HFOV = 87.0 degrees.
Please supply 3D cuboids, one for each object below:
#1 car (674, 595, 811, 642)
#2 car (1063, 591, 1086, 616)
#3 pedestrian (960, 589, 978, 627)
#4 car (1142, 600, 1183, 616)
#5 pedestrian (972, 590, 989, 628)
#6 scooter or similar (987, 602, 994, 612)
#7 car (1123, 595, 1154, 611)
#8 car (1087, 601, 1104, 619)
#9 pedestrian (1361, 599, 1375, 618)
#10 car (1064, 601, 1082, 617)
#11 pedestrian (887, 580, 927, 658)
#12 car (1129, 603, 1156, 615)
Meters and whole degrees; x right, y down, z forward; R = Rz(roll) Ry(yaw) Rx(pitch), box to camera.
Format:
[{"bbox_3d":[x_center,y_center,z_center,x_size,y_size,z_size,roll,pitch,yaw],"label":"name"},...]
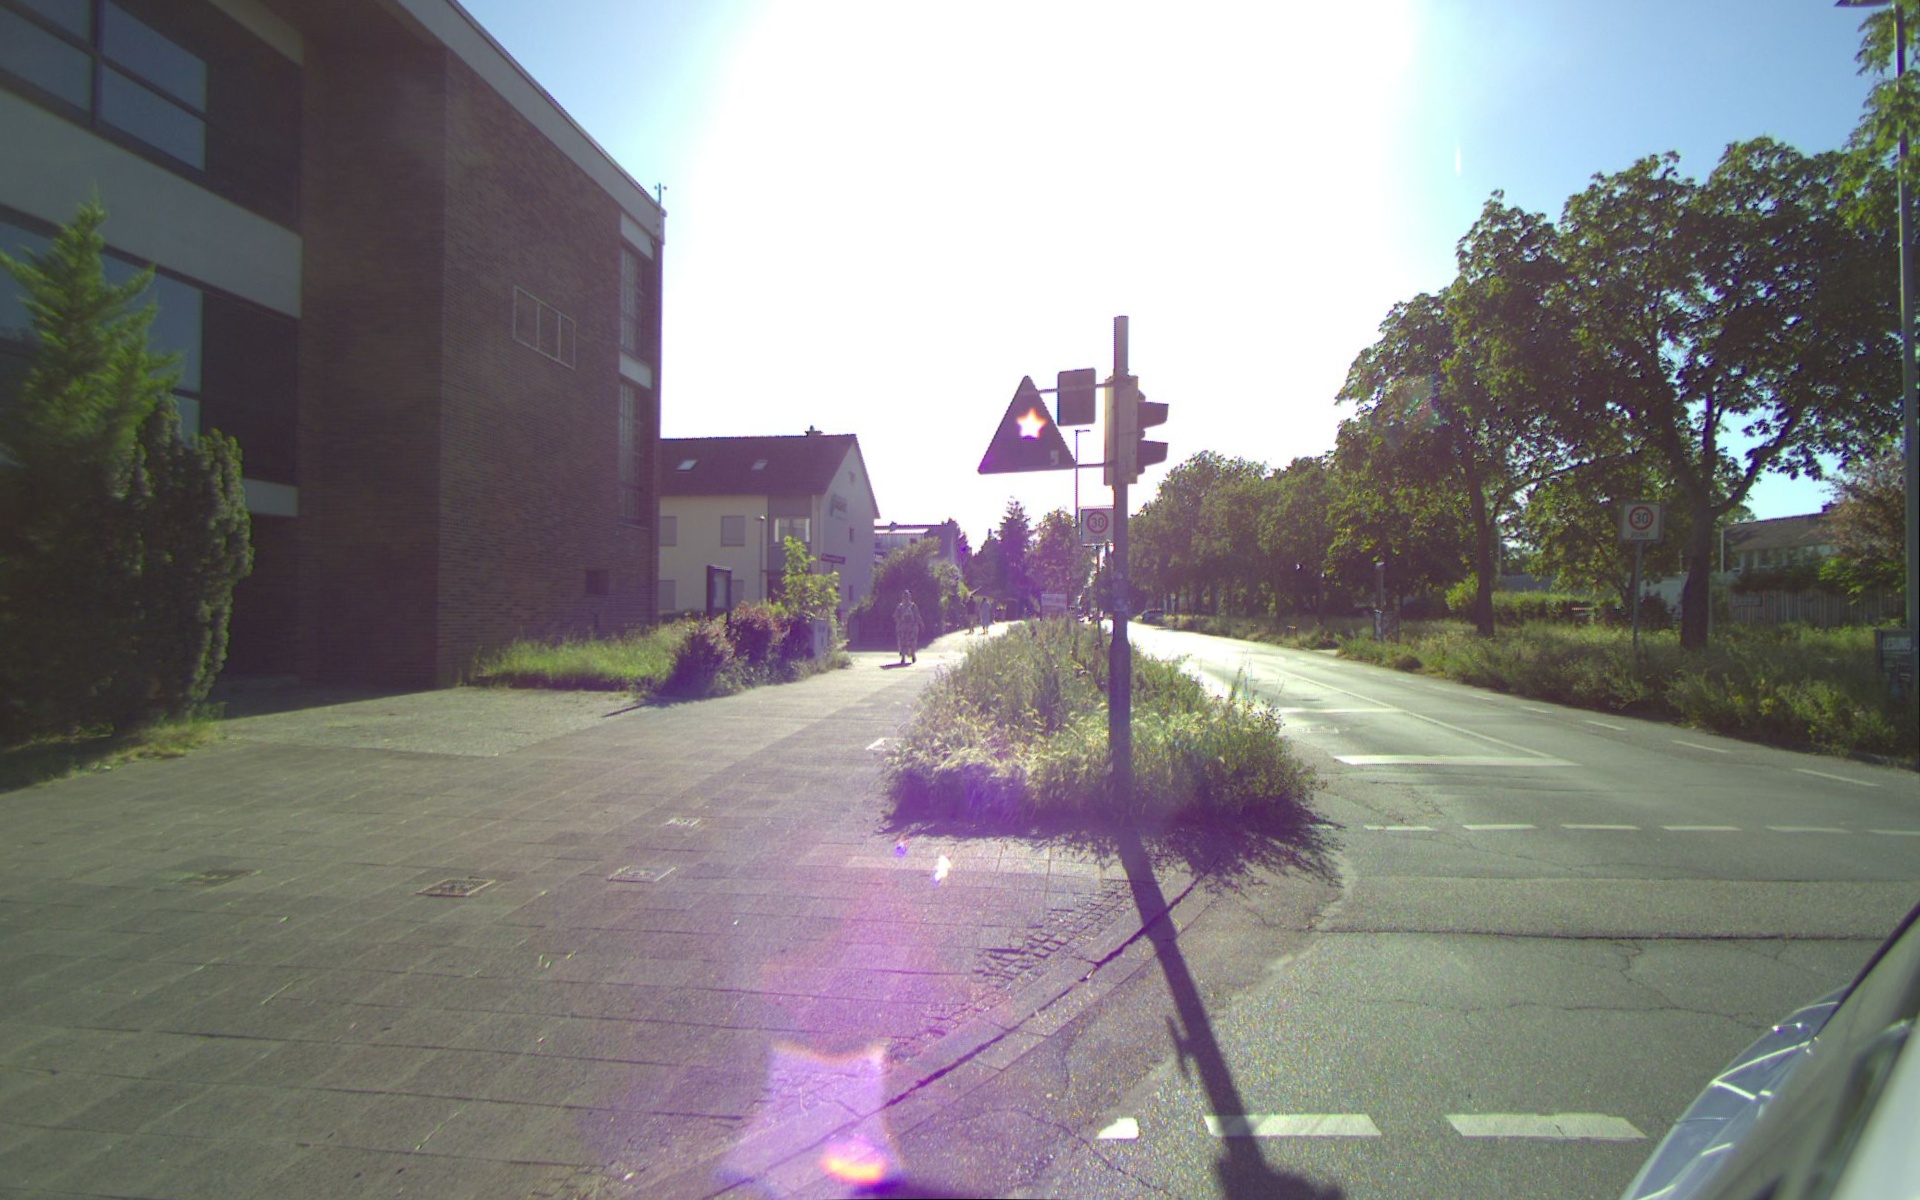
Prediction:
[{"bbox_3d":[-7.199,0.623,33.736,4.136,1.522,1.802,0,-1,7],"label":"car"},{"bbox_3d":[7.462,0.223,66.097,1.472,1.594,3.594,-1,0,6],"label":"car"},{"bbox_3d":[0.410,0.383,47.331,0.600,1.754,0.634,-1,0,23],"label":"pedestrian"},{"bbox_3d":[21.842,0.843,109.341,4.136,1.581,1.996,-1,-1,8],"label":"car"},{"bbox_3d":[0.960,0.420,47.090,0.549,1.754,0.656,-1,0,23],"label":"pedestrian"},{"bbox_3d":[2.380,0.574,78.204,0.442,0.725,1.227,4,1,5],"label":"scooter or similar"},{"bbox_3d":[30.268,0.558,171.872,5.043,2.645,2.119,-1,0,10],"label":"car"},{"bbox_3d":[16.503,1.194,123.264,1.966,2.039,3.992,-1,0,7],"label":"car"},{"bbox_3d":[26.393,0.556,65.424,0.629,1.172,0.521,-3,-1,5],"label":"pedestrian"},{"bbox_3d":[11.536,0.934,103.378,1.704,1.501,3.850,1,-1,6],"label":"car"},{"bbox_3d":[-1.271,0.449,24.511,0.885,1.845,0.736,-1,0,1],"label":"pedestrian"},{"bbox_3d":[28.094,1.377,155.676,3.930,1.772,1.887,-1,0,6],"label":"car"}]
